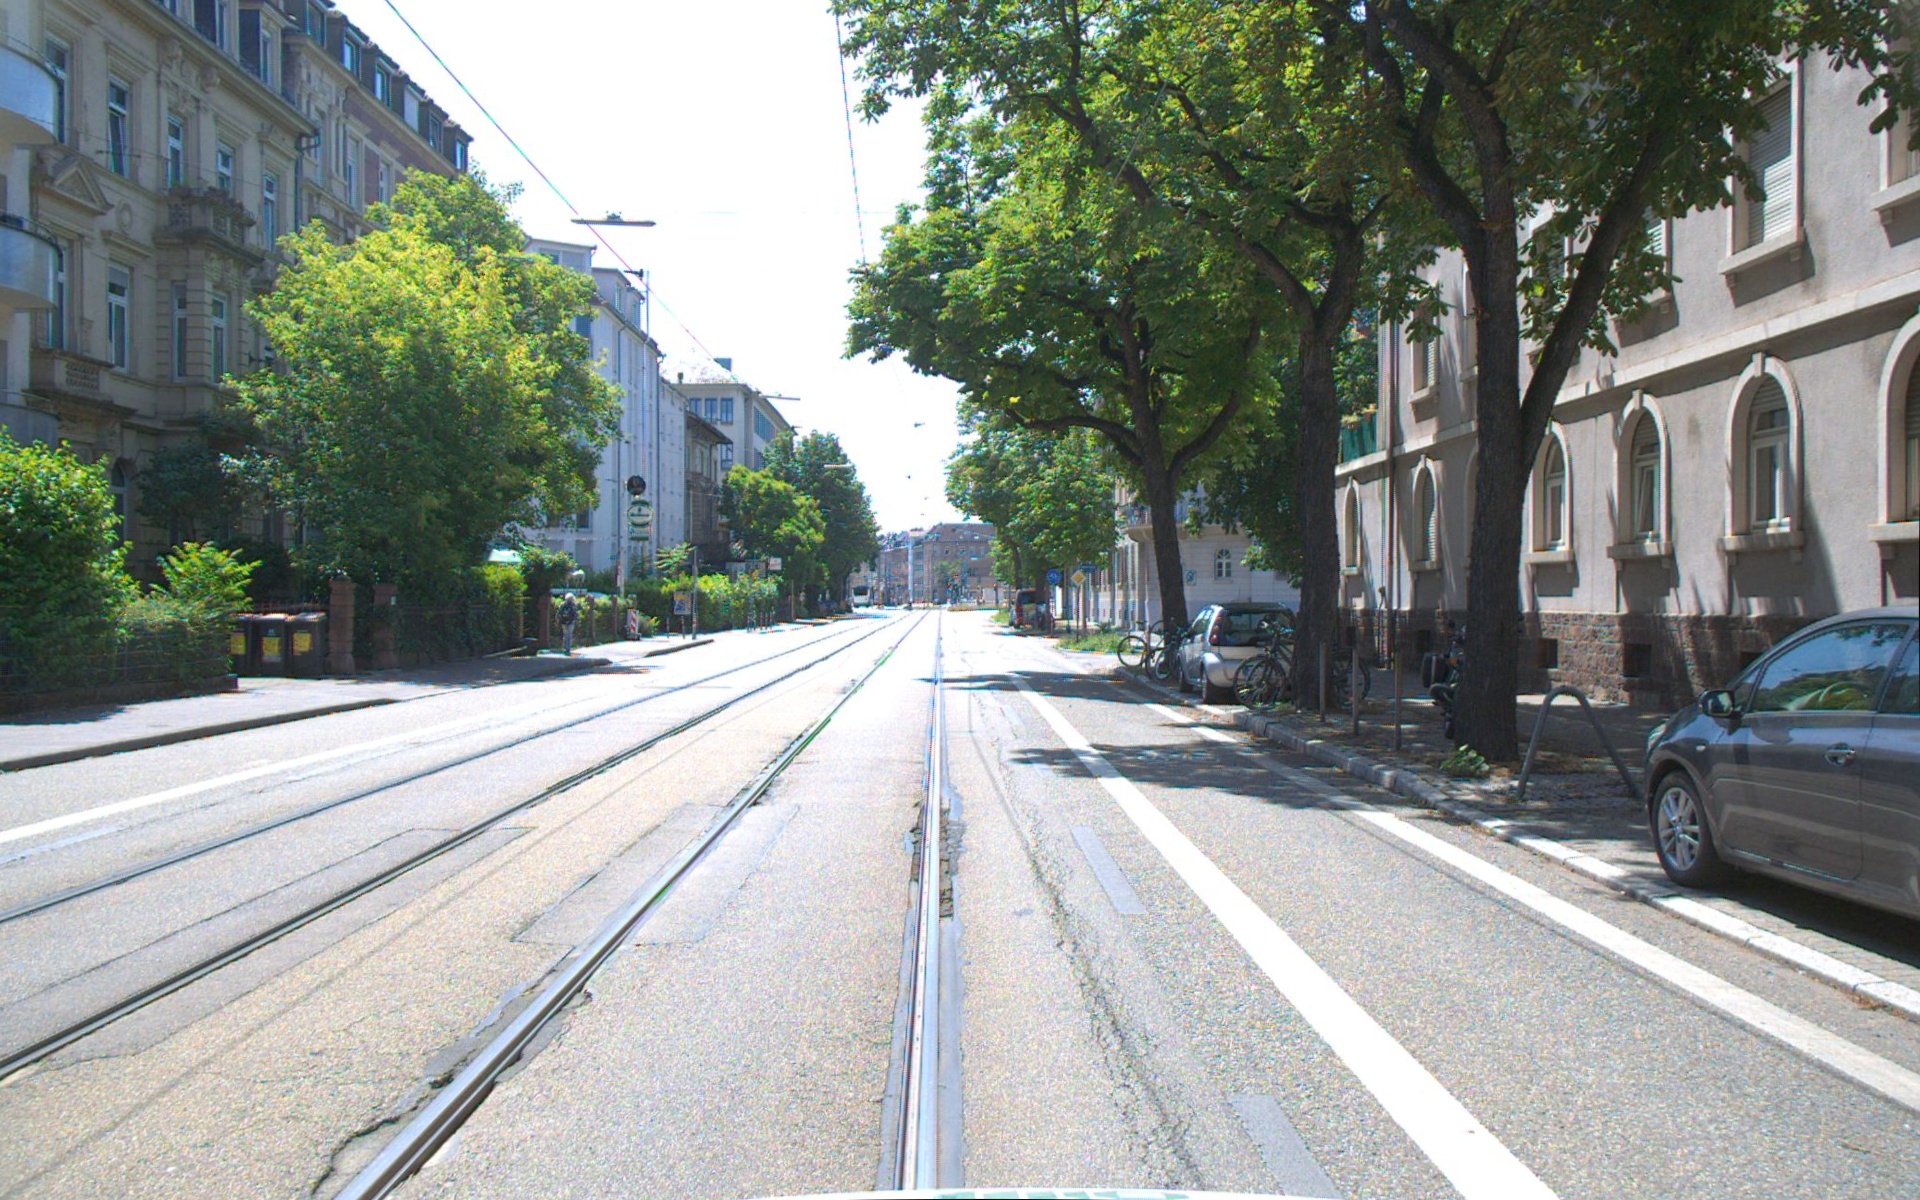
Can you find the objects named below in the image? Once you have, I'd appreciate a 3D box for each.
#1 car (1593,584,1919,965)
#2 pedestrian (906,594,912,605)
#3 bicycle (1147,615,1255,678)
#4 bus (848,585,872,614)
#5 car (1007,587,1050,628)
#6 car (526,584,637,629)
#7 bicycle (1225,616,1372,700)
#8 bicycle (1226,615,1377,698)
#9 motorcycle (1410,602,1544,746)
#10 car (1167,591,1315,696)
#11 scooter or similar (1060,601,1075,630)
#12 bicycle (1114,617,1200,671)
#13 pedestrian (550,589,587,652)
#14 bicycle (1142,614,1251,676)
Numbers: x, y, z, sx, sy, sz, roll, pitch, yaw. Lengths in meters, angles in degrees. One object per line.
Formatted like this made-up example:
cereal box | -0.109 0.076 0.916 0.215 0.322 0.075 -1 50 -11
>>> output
car | 4.752 0.705 7.823 1.738 1.527 4.304 -1 0 -2
pedestrian | -5.820 -0.039 188.804 0.485 1.193 0.585 0 0 -25
bicycle | 4.467 0.856 30.715 1.922 1.133 0.599 -1 -1 1
bus | -14.590 0.008 242.732 2.871 4.005 11.272 2 -1 -1
car | 3.512 0.360 84.924 1.953 2.071 4.696 0 1 -1
car | -16.885 0.288 73.898 4.386 1.937 2.001 1 0 16
bicycle | 4.424 0.753 21.679 1.849 1.070 0.538 0 -1 6
bicycle | 4.514 0.741 21.958 1.921 1.082 0.599 0 -1 6
motorcycle | 5.144 0.688 16.607 0.975 1.322 2.380 0 0 10
car | 4.369 0.652 26.241 1.589 1.473 3.809 -2 0 -1
scooter or similar | 4.714 0.680 72.690 0.491 1.251 1.573 1 0 -1
bicycle | 4.273 0.946 35.898 1.779 1.133 0.493 -1 -1 -2
pedestrian | -10.417 0.539 44.045 0.735 1.657 0.833 1 0 3
bicycle | 4.462 0.857 31.344 1.968 1.133 0.640 -1 -1 1
